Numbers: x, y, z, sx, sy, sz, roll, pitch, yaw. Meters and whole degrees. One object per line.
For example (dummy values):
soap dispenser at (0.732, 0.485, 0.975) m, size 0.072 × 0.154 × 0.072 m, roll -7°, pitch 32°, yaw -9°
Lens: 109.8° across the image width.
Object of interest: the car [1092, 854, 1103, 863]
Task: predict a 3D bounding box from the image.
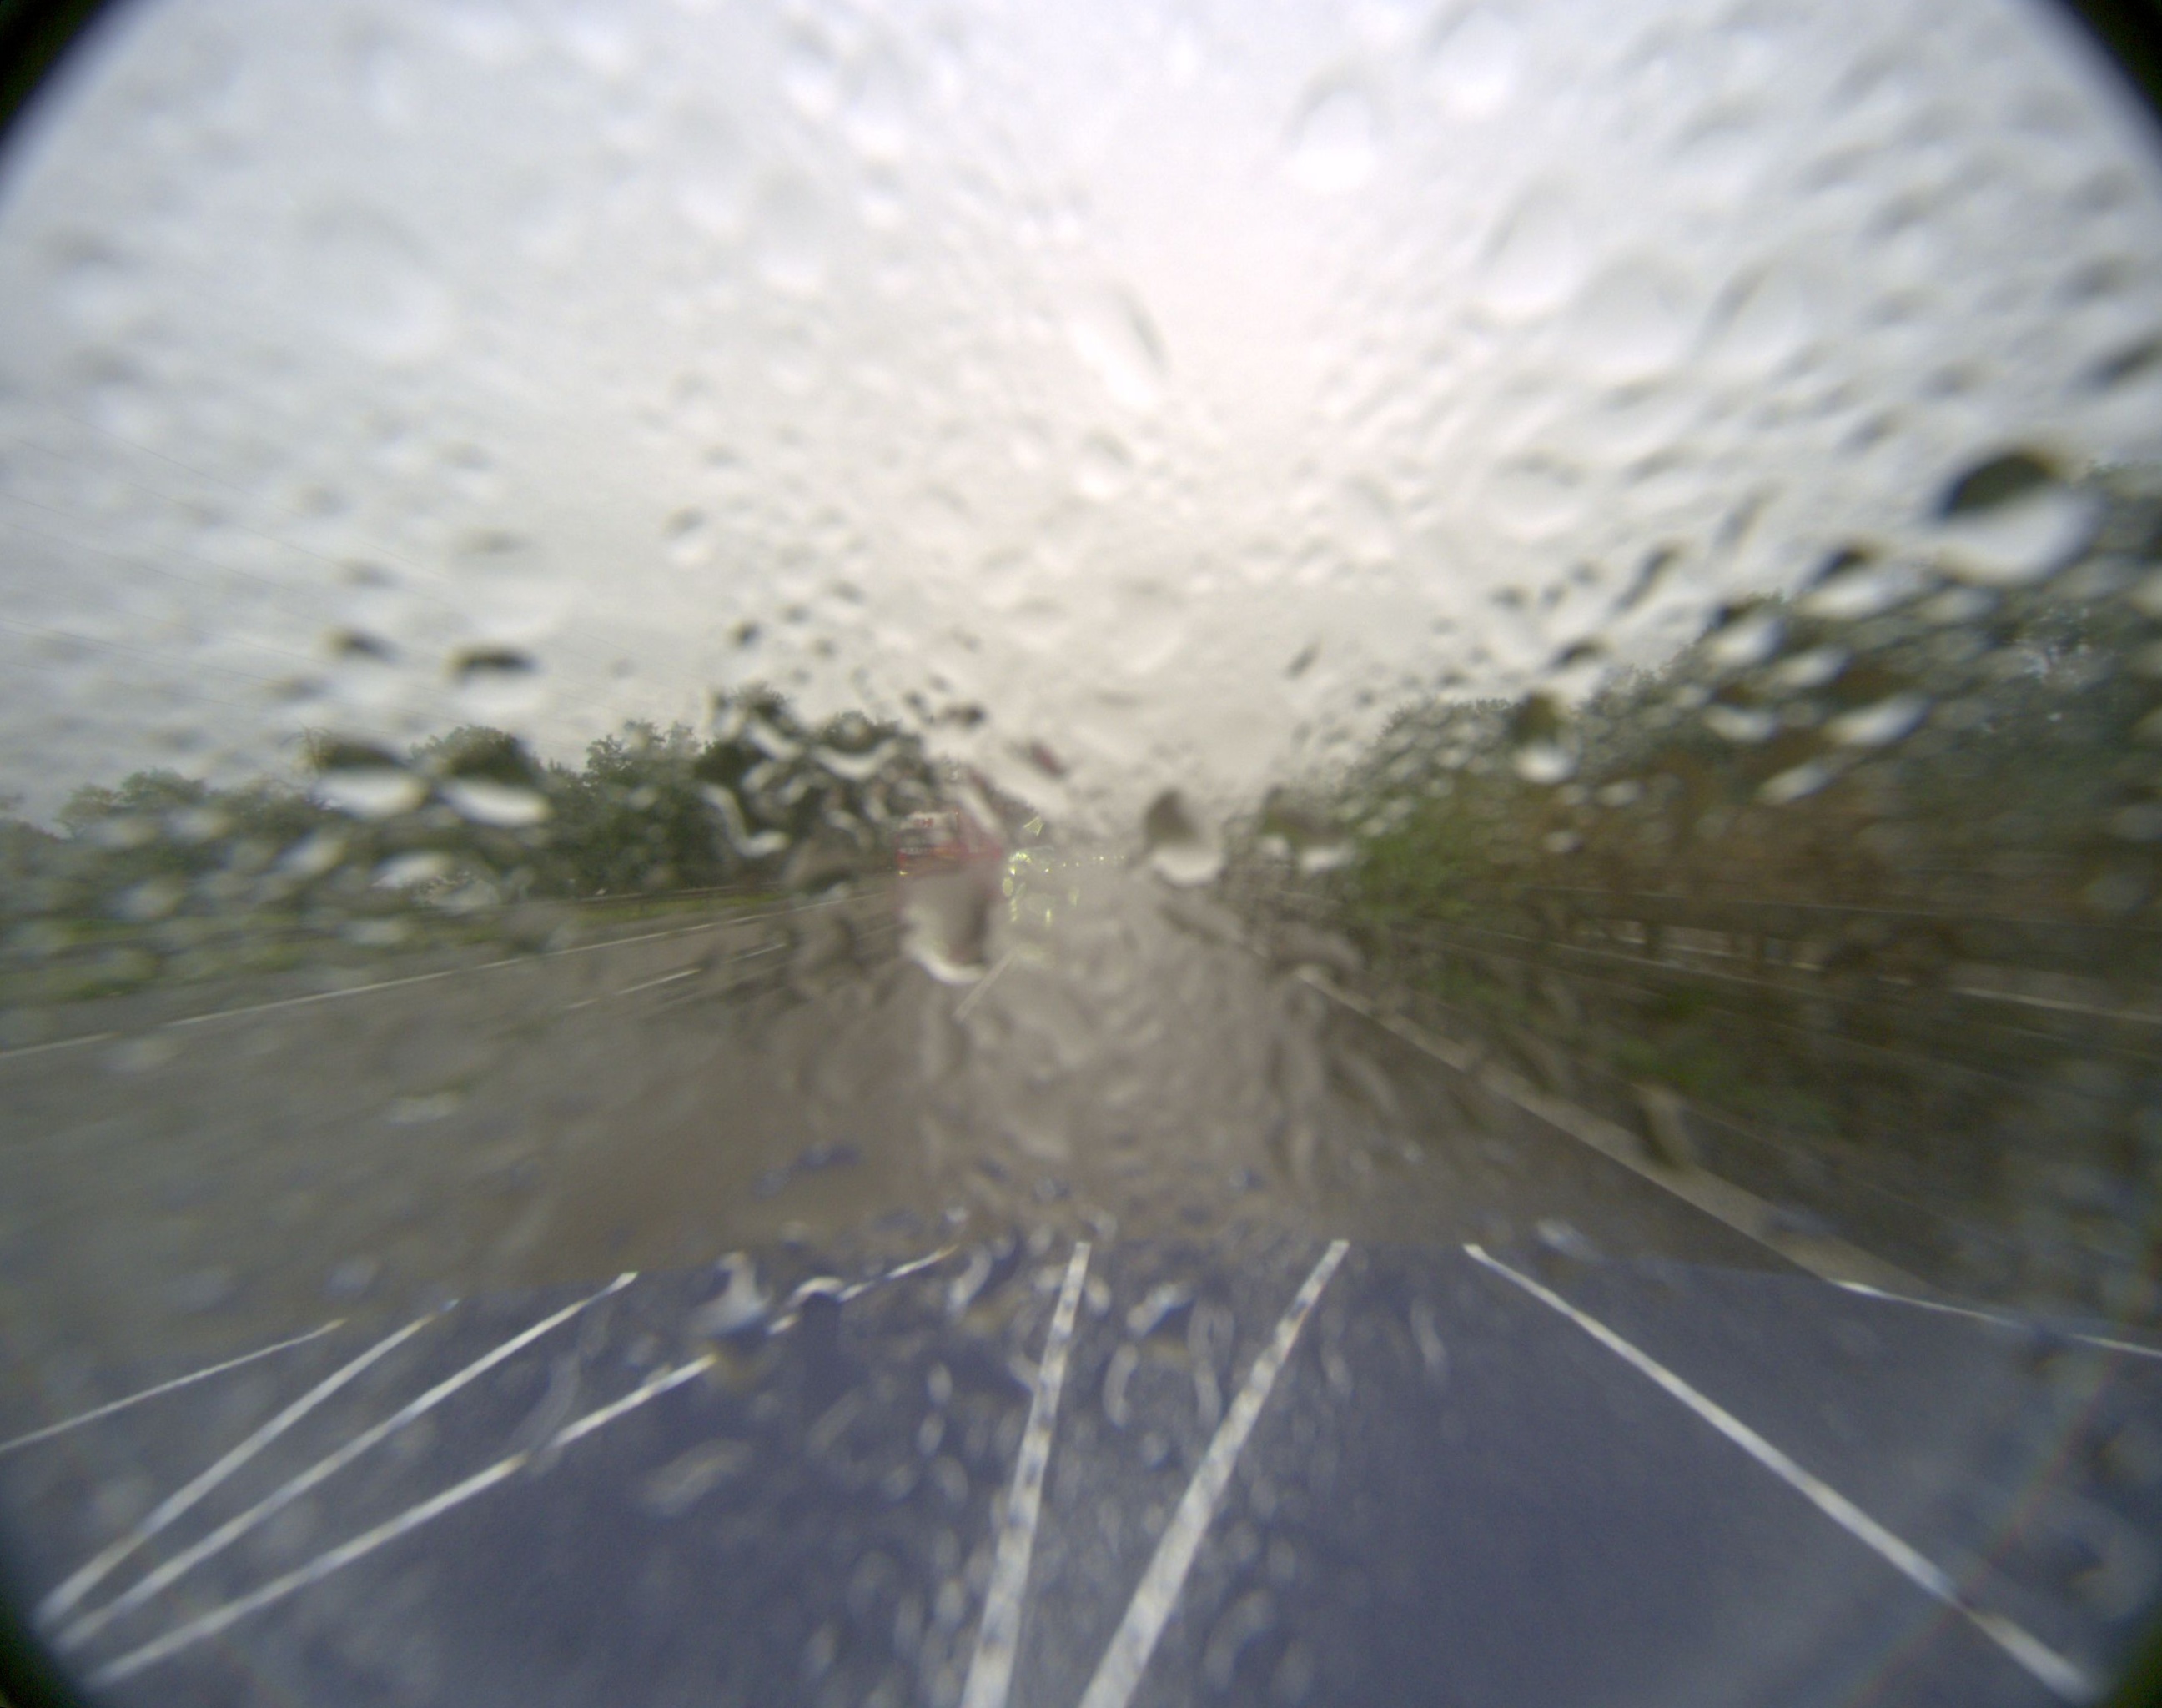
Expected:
car at (3.220, 0.855, 149.651) m, size 1.768 × 1.448 × 3.961 m, roll -4°, pitch 0°, yaw 6°

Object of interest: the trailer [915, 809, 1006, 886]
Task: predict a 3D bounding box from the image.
trailer at (-6.914, -0.409, 46.070) m, size 2.626 × 3.932 × 13.631 m, roll -2°, pitch 1°, yaw 3°

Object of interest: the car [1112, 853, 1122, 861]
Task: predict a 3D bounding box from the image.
car at (7.113, 0.590, 151.019) m, size 1.768 × 1.448 × 3.961 m, roll -4°, pitch 0°, yaw 5°

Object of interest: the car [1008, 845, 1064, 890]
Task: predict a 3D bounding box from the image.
car at (-2.074, 0.583, 36.475) m, size 1.891 × 1.873 × 5.010 m, roll -4°, pitch 0°, yaw 4°

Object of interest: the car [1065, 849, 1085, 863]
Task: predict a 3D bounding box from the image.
car at (-0.650, 0.231, 84.723) m, size 1.769 × 1.448 × 3.960 m, roll -4°, pitch 0°, yaw 4°

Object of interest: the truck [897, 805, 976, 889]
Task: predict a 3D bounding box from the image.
truck at (-7.241, -0.356, 38.801) m, size 2.626 × 3.932 × 5.433 m, roll -2°, pitch 1°, yaw 3°
